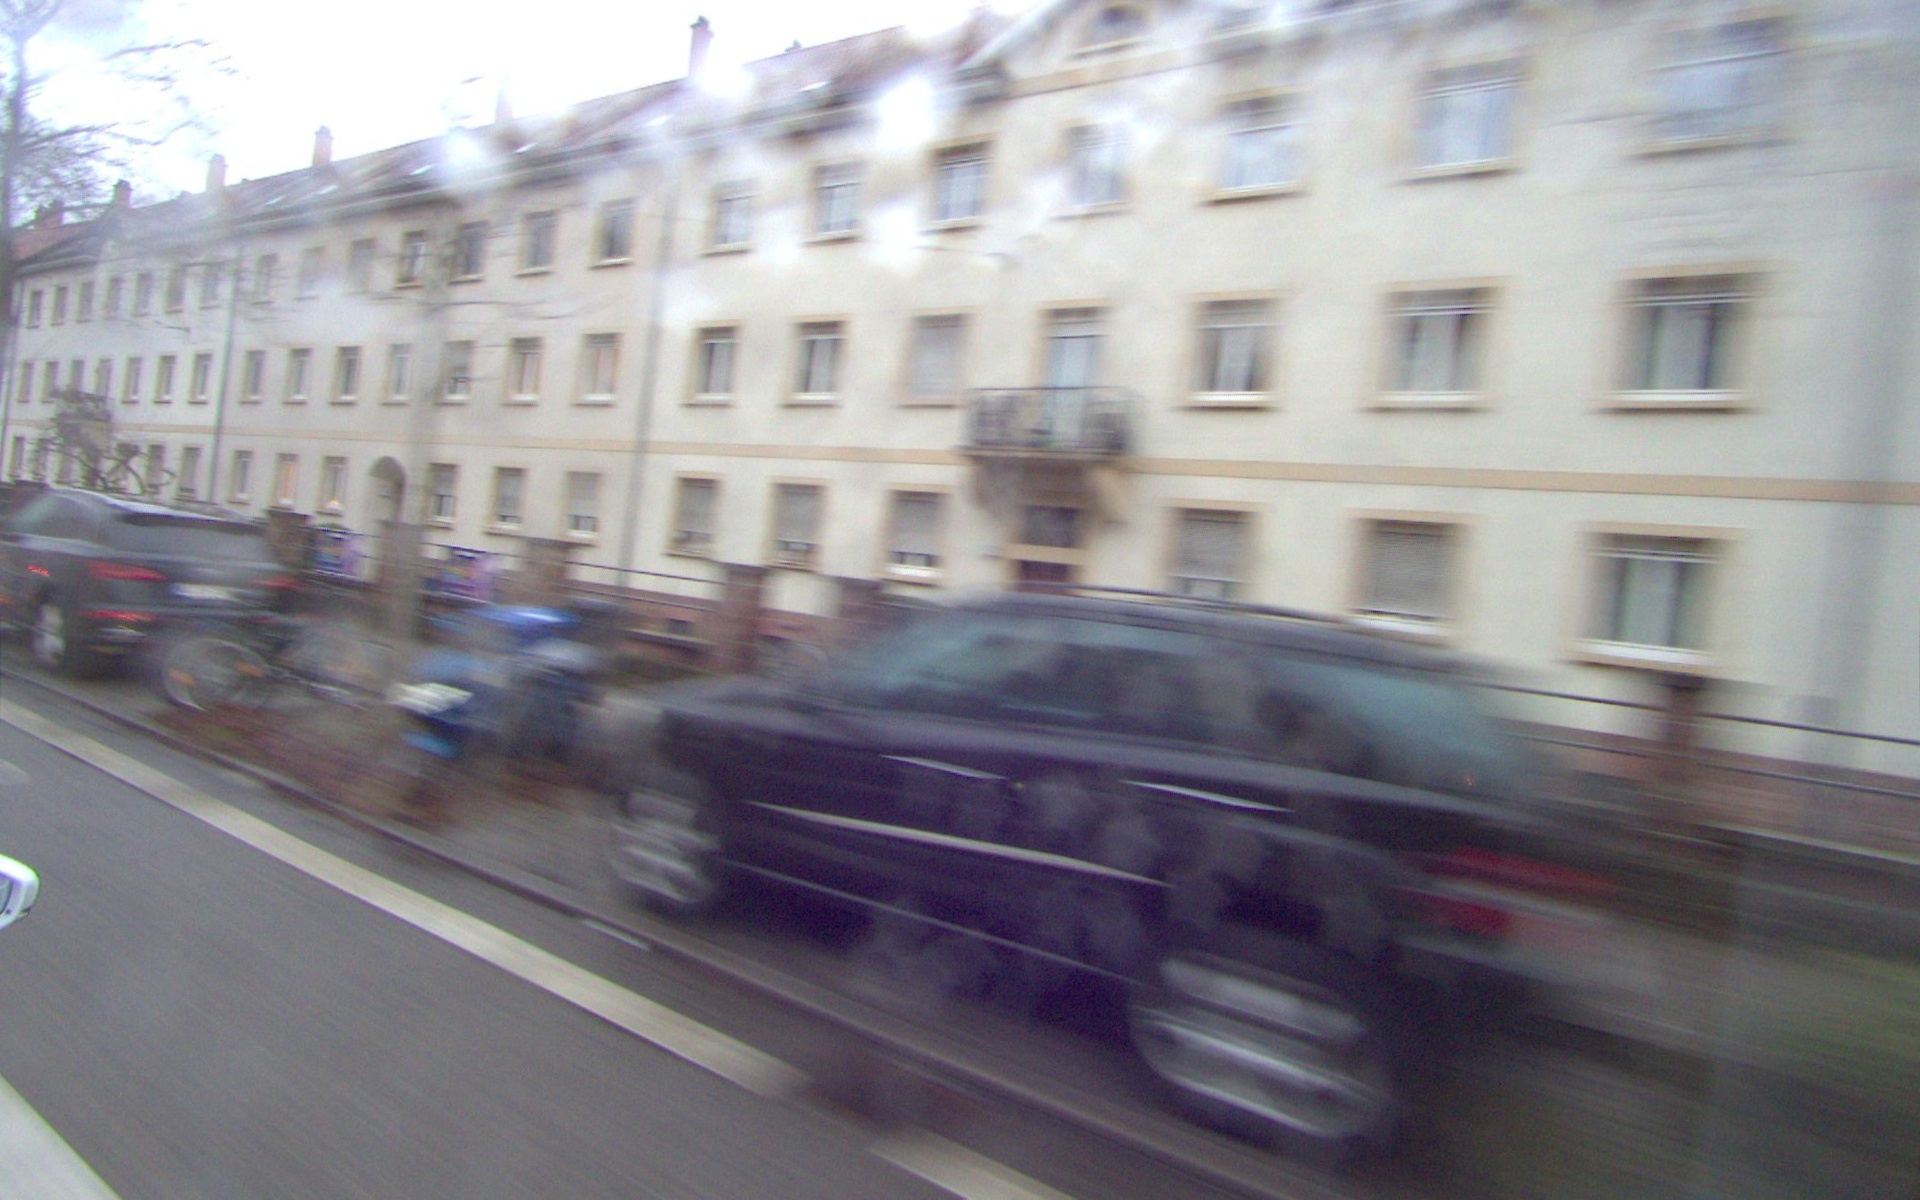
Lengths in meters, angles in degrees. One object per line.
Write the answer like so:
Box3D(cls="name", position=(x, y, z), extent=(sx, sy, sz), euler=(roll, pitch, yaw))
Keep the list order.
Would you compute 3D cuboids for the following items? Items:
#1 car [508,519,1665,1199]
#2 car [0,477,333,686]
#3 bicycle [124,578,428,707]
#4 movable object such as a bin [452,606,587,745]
Box3D(cls="car", position=(0.262, 0.777, 4.839), extent=(4.820, 1.748, 1.909), euler=(7, -1, 31))
Box3D(cls="car", position=(-8.685, -0.268, 10.403), extent=(4.487, 1.629, 1.908), euler=(7, -1, 33))
Box3D(cls="bicycle", position=(-5.694, 0.399, 8.512), extent=(0.458, 0.927, 2.011), euler=(8, 0, 40))
Box3D(cls="movable object such as a bin", position=(-3.464, 0.567, 7.932), extent=(0.559, 0.968, 0.751), euler=(7, 5, 26))
